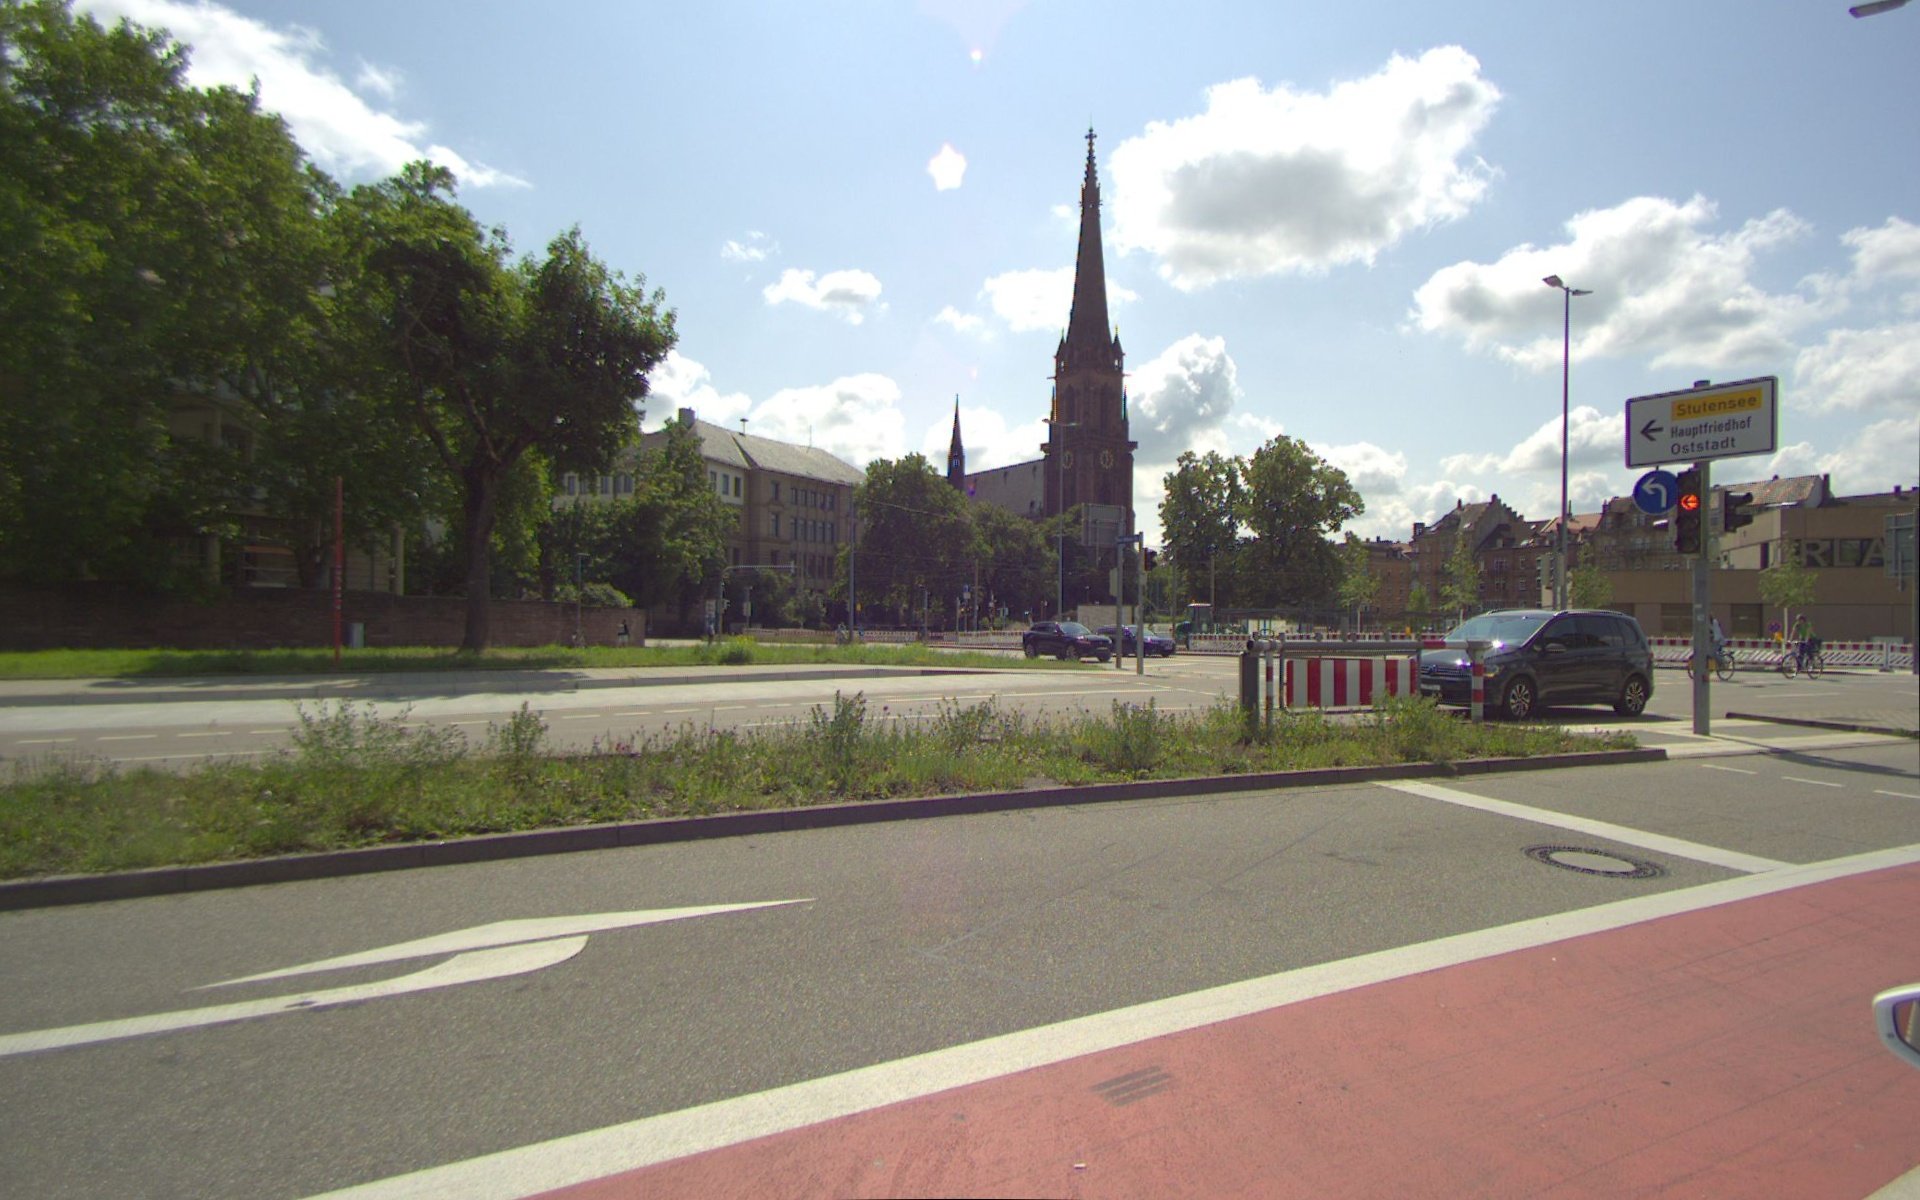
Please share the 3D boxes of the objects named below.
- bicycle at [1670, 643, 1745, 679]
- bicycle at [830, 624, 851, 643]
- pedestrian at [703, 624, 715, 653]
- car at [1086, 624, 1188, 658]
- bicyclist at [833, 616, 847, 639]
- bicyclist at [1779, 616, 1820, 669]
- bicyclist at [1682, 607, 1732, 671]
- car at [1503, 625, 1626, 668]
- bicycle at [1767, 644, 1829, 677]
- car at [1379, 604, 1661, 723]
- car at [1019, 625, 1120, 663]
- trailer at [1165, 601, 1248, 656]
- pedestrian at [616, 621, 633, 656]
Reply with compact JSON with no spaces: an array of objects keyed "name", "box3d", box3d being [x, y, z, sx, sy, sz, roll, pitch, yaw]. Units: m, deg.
[{"name":"bicycle","box3d":[19.835,1.595,26.650,2.082,0.901,0.773,1,-1,-28]},{"name":"bicycle","box3d":[-8.051,2.233,67.438,0.659,1.161,2.053,2,0,-28]},{"name":"pedestrian","box3d":[-16.145,2.499,64.554,0.561,1.844,0.436,2,0,42]},{"name":"car","box3d":[8.076,1.860,46.318,1.980,1.505,4.623,1,-2,-35]},{"name":"bicyclist","box3d":[-8.052,1.853,67.477,0.659,1.553,0.642,2,0,-28]},{"name":"bicyclist","box3d":[24.023,1.211,28.746,0.824,1.481,0.564,1,-1,-20]},{"name":"bicyclist","box3d":[19.809,1.029,26.643,0.832,1.640,0.773,1,-1,-28]},{"name":"car","box3d":[22.450,1.699,37.430,3.836,1.505,1.996,0,-2,31]},{"name":"bicycle","box3d":[23.952,1.727,28.710,1.717,0.901,0.566,1,-1,-20]},{"name":"car","box3d":[8.830,0.929,15.826,4.100,1.645,1.875,1,0,-26]},{"name":"car","box3d":[4.575,1.832,42.569,1.977,1.505,4.474,1,-2,-31]},{"name":"trailer","box3d":[13.924,1.591,56.923,4.278,2.952,2.001,2,0,6]},{"name":"pedestrian","box3d":[-17.015,1.939,50.954,0.479,1.718,0.679,2,0,21]}]
